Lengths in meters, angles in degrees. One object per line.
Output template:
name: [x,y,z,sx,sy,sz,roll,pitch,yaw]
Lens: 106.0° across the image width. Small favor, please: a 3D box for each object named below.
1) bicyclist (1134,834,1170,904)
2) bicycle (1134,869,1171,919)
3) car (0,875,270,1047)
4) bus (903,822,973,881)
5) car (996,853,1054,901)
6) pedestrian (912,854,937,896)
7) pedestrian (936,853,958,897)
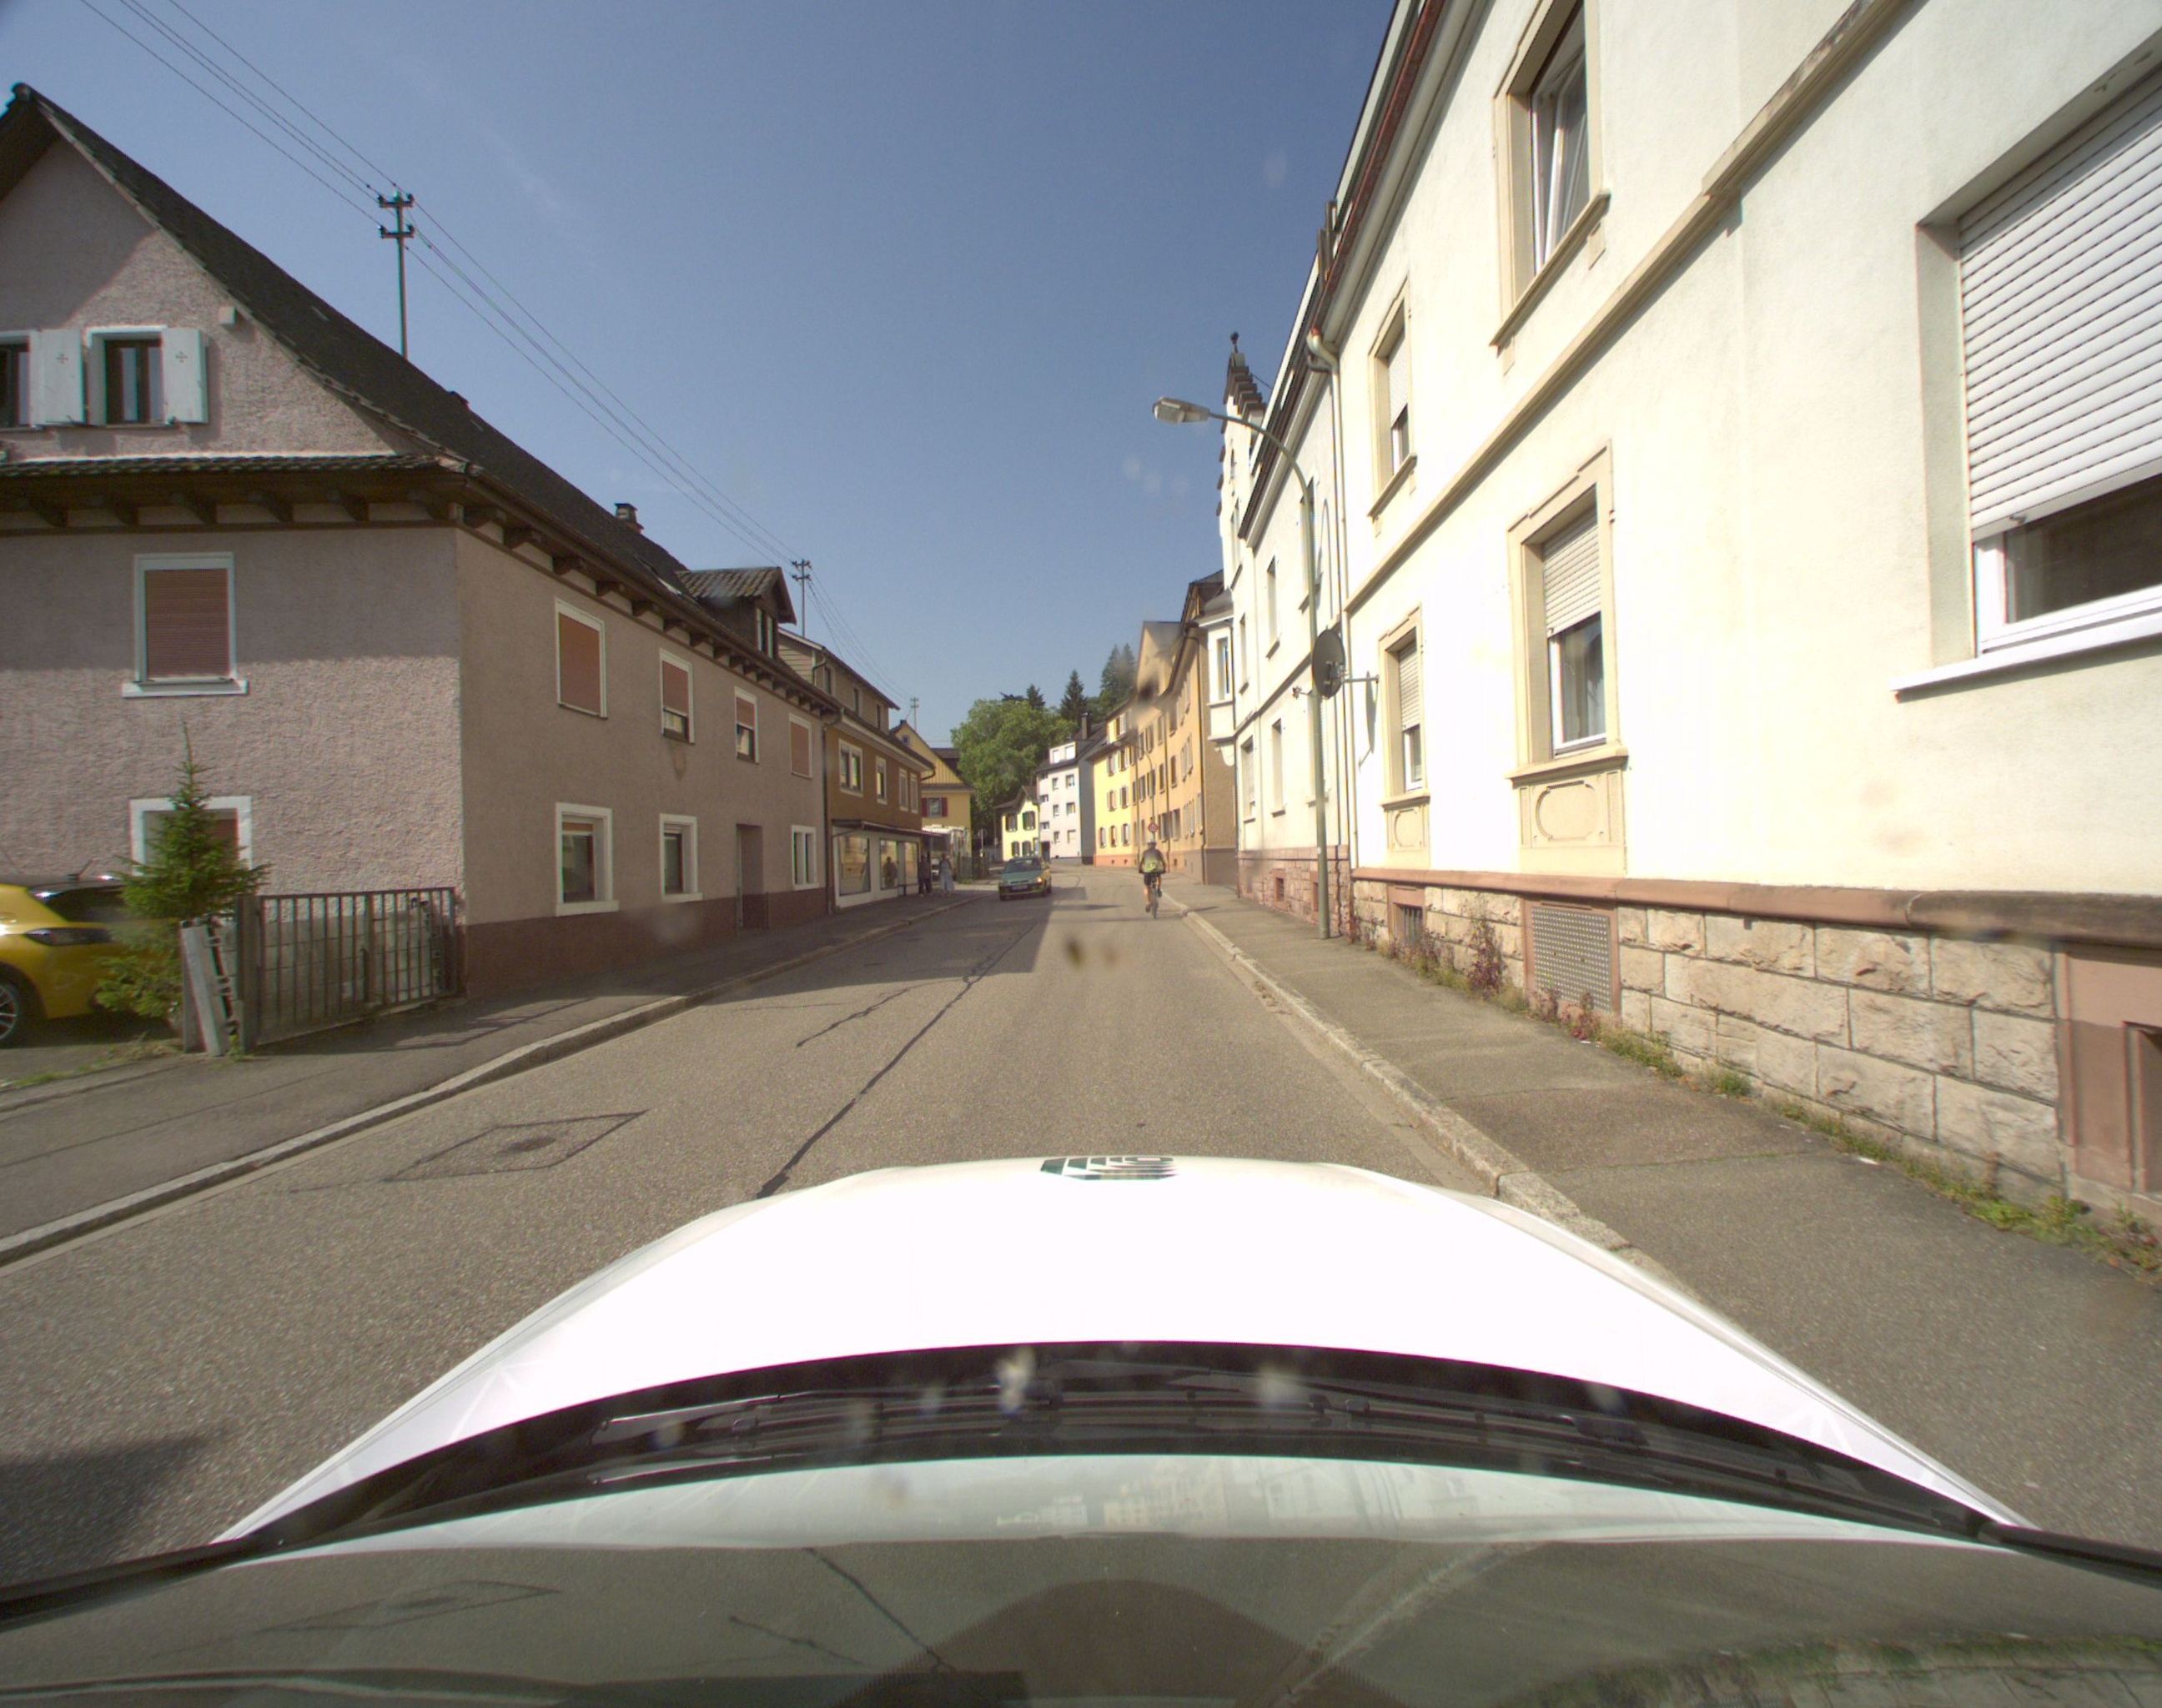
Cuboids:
bicyclist: [1.602,0.329,18.490,0.683,1.531,0.715,-3,0,-1]
bicycle: [1.615,0.896,18.543,0.696,1.035,1.471,-1,0,0]
car: [-10.348,0.937,7.632,3.741,1.392,1.644,0,0,-2]
bus: [-8.474,-0.129,49.379,2.812,3.228,9.030,0,0,-2]
car: [-1.970,0.771,29.359,1.591,1.464,3.661,-5,0,2]
pedestrian: [-5.956,0.801,30.999,0.732,1.564,0.825,1,0,2]
pedestrian: [-5.069,0.773,30.909,0.637,1.626,0.777,1,0,2]
